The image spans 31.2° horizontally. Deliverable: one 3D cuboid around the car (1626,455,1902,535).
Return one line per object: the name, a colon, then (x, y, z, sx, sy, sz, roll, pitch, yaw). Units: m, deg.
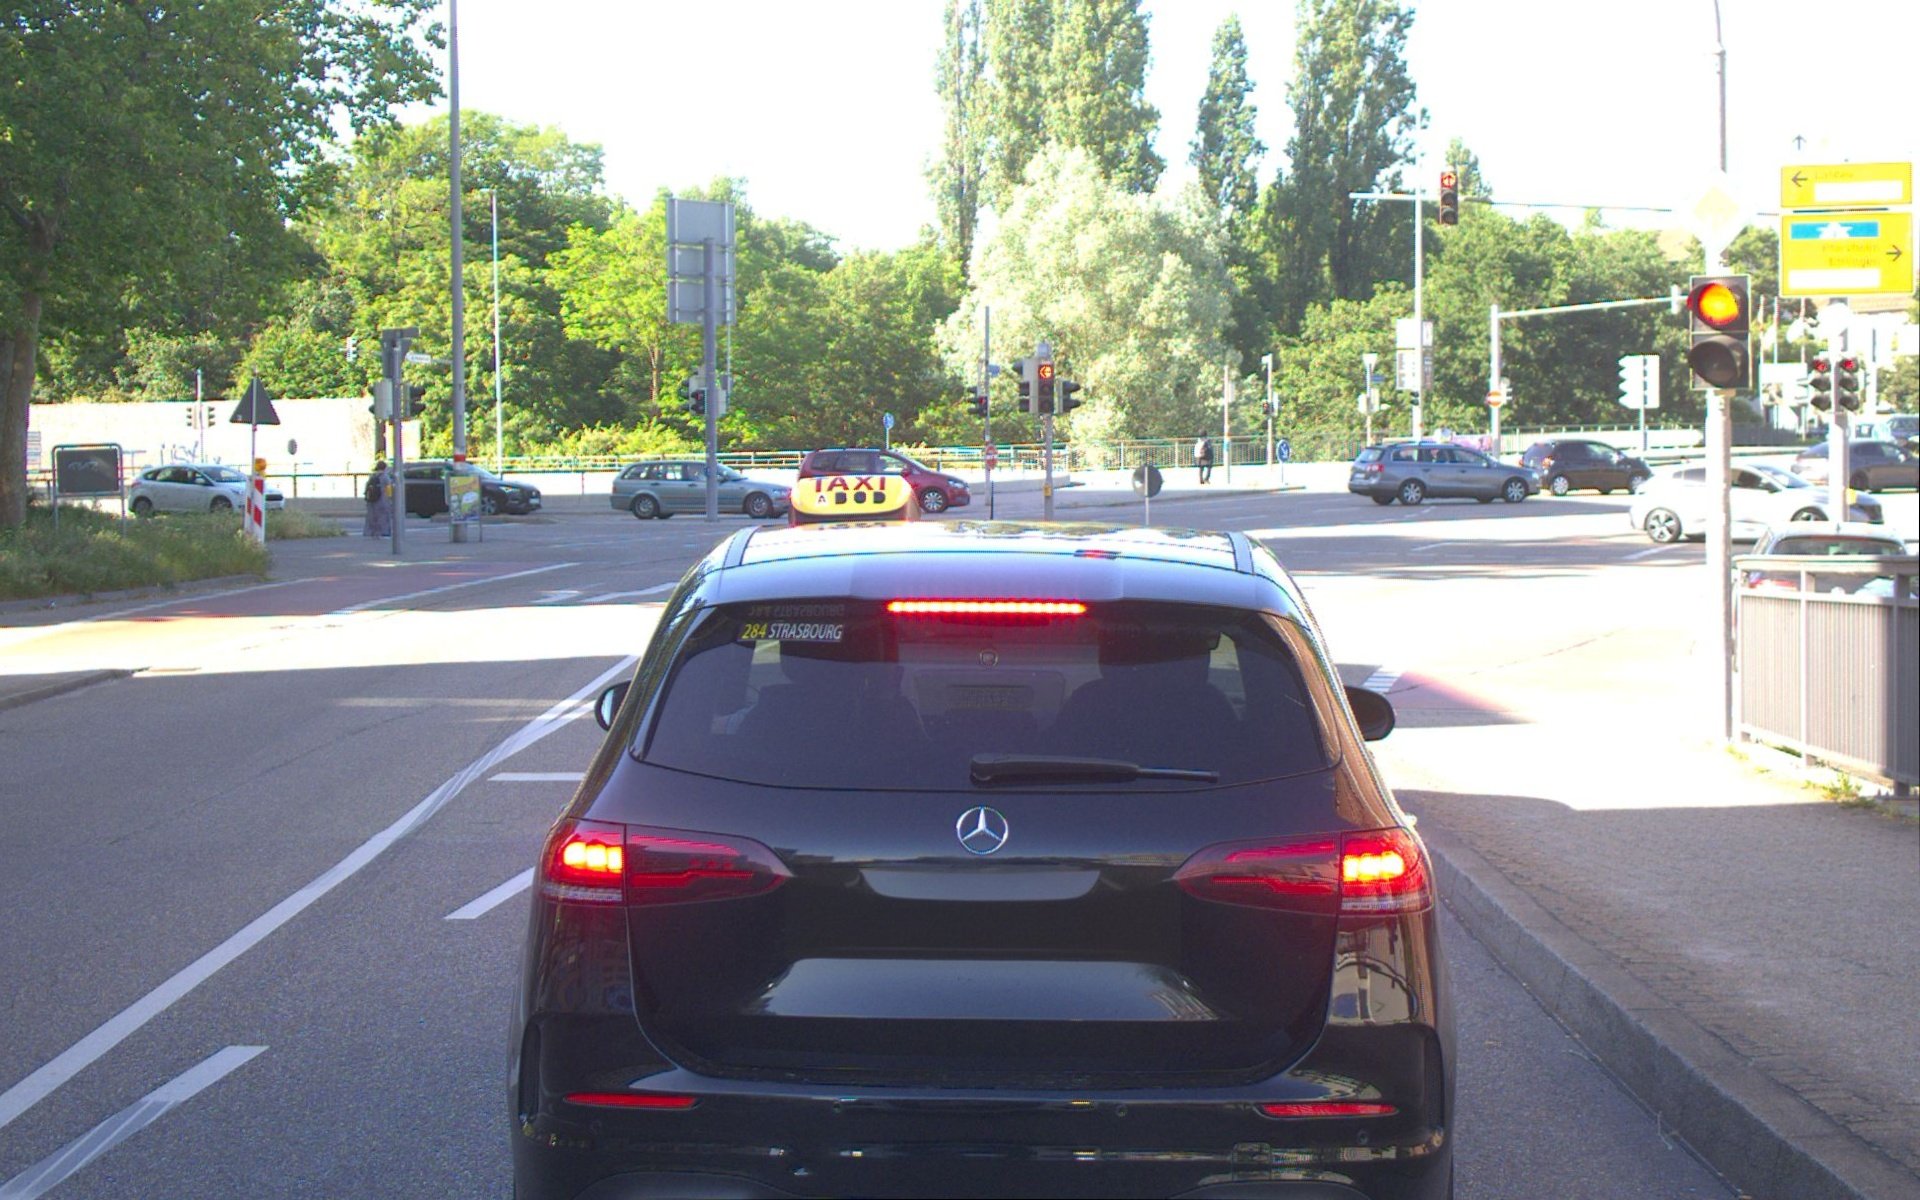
car: (14.013, -1.841, 59.996, 4.226, 1.290, 1.996, 1, 4, 37)

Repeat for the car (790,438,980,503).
car: (-1.839, -3.198, 84.963, 4.537, 1.450, 2.000, -1, 3, 3)

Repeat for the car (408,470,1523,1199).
car: (-0.017, 0.541, 7.841, 1.878, 1.608, 4.000, 1, 2, -1)

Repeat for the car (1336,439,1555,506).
car: (11.691, -3.082, 82.852, 4.806, 1.436, 2.001, -2, 4, -17)

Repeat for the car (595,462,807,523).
car: (-6.054, -2.533, 80.716, 4.581, 1.290, 2.000, -1, 3, 10)

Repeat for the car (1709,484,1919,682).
car: (8.163, -0.225, 32.837, 1.722, 1.598, 4.296, 1, 4, 9)

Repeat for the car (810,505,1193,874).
car: (0.232, 0.345, 16.726, 1.640, 1.524, 3.474, -1, 2, 2)

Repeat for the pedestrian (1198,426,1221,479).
pedestrian: (7.507, -4.441, 103.423, 0.451, 1.580, 0.500, 1, 3, 40)

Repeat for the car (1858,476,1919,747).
car: (7.409, 0.131, 23.045, 1.721, 1.805, 4.298, 1, 3, 2)

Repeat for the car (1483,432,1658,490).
car: (15.730, -3.592, 88.614, 4.064, 1.352, 1.788, -3, 4, -19)

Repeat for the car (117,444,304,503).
car: (-18.667, -3.154, 85.567, 4.308, 1.360, 1.997, 1, 4, 31)

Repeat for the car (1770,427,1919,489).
car: (22.964, -3.617, 87.173, 4.280, 1.436, 2.001, -3, 4, -18)

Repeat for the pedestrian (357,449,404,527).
pedestrian: (-11.463, -2.211, 67.990, 0.705, 1.520, 0.743, 1, 2, 10)

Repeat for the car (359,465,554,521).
car: (-12.741, -2.704, 87.047, 4.586, 1.290, 1.884, 0, 4, 26)

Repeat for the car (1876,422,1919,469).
car: (33.580, -5.397, 119.812, 1.882, 1.573, 3.992, 1, 3, 36)
